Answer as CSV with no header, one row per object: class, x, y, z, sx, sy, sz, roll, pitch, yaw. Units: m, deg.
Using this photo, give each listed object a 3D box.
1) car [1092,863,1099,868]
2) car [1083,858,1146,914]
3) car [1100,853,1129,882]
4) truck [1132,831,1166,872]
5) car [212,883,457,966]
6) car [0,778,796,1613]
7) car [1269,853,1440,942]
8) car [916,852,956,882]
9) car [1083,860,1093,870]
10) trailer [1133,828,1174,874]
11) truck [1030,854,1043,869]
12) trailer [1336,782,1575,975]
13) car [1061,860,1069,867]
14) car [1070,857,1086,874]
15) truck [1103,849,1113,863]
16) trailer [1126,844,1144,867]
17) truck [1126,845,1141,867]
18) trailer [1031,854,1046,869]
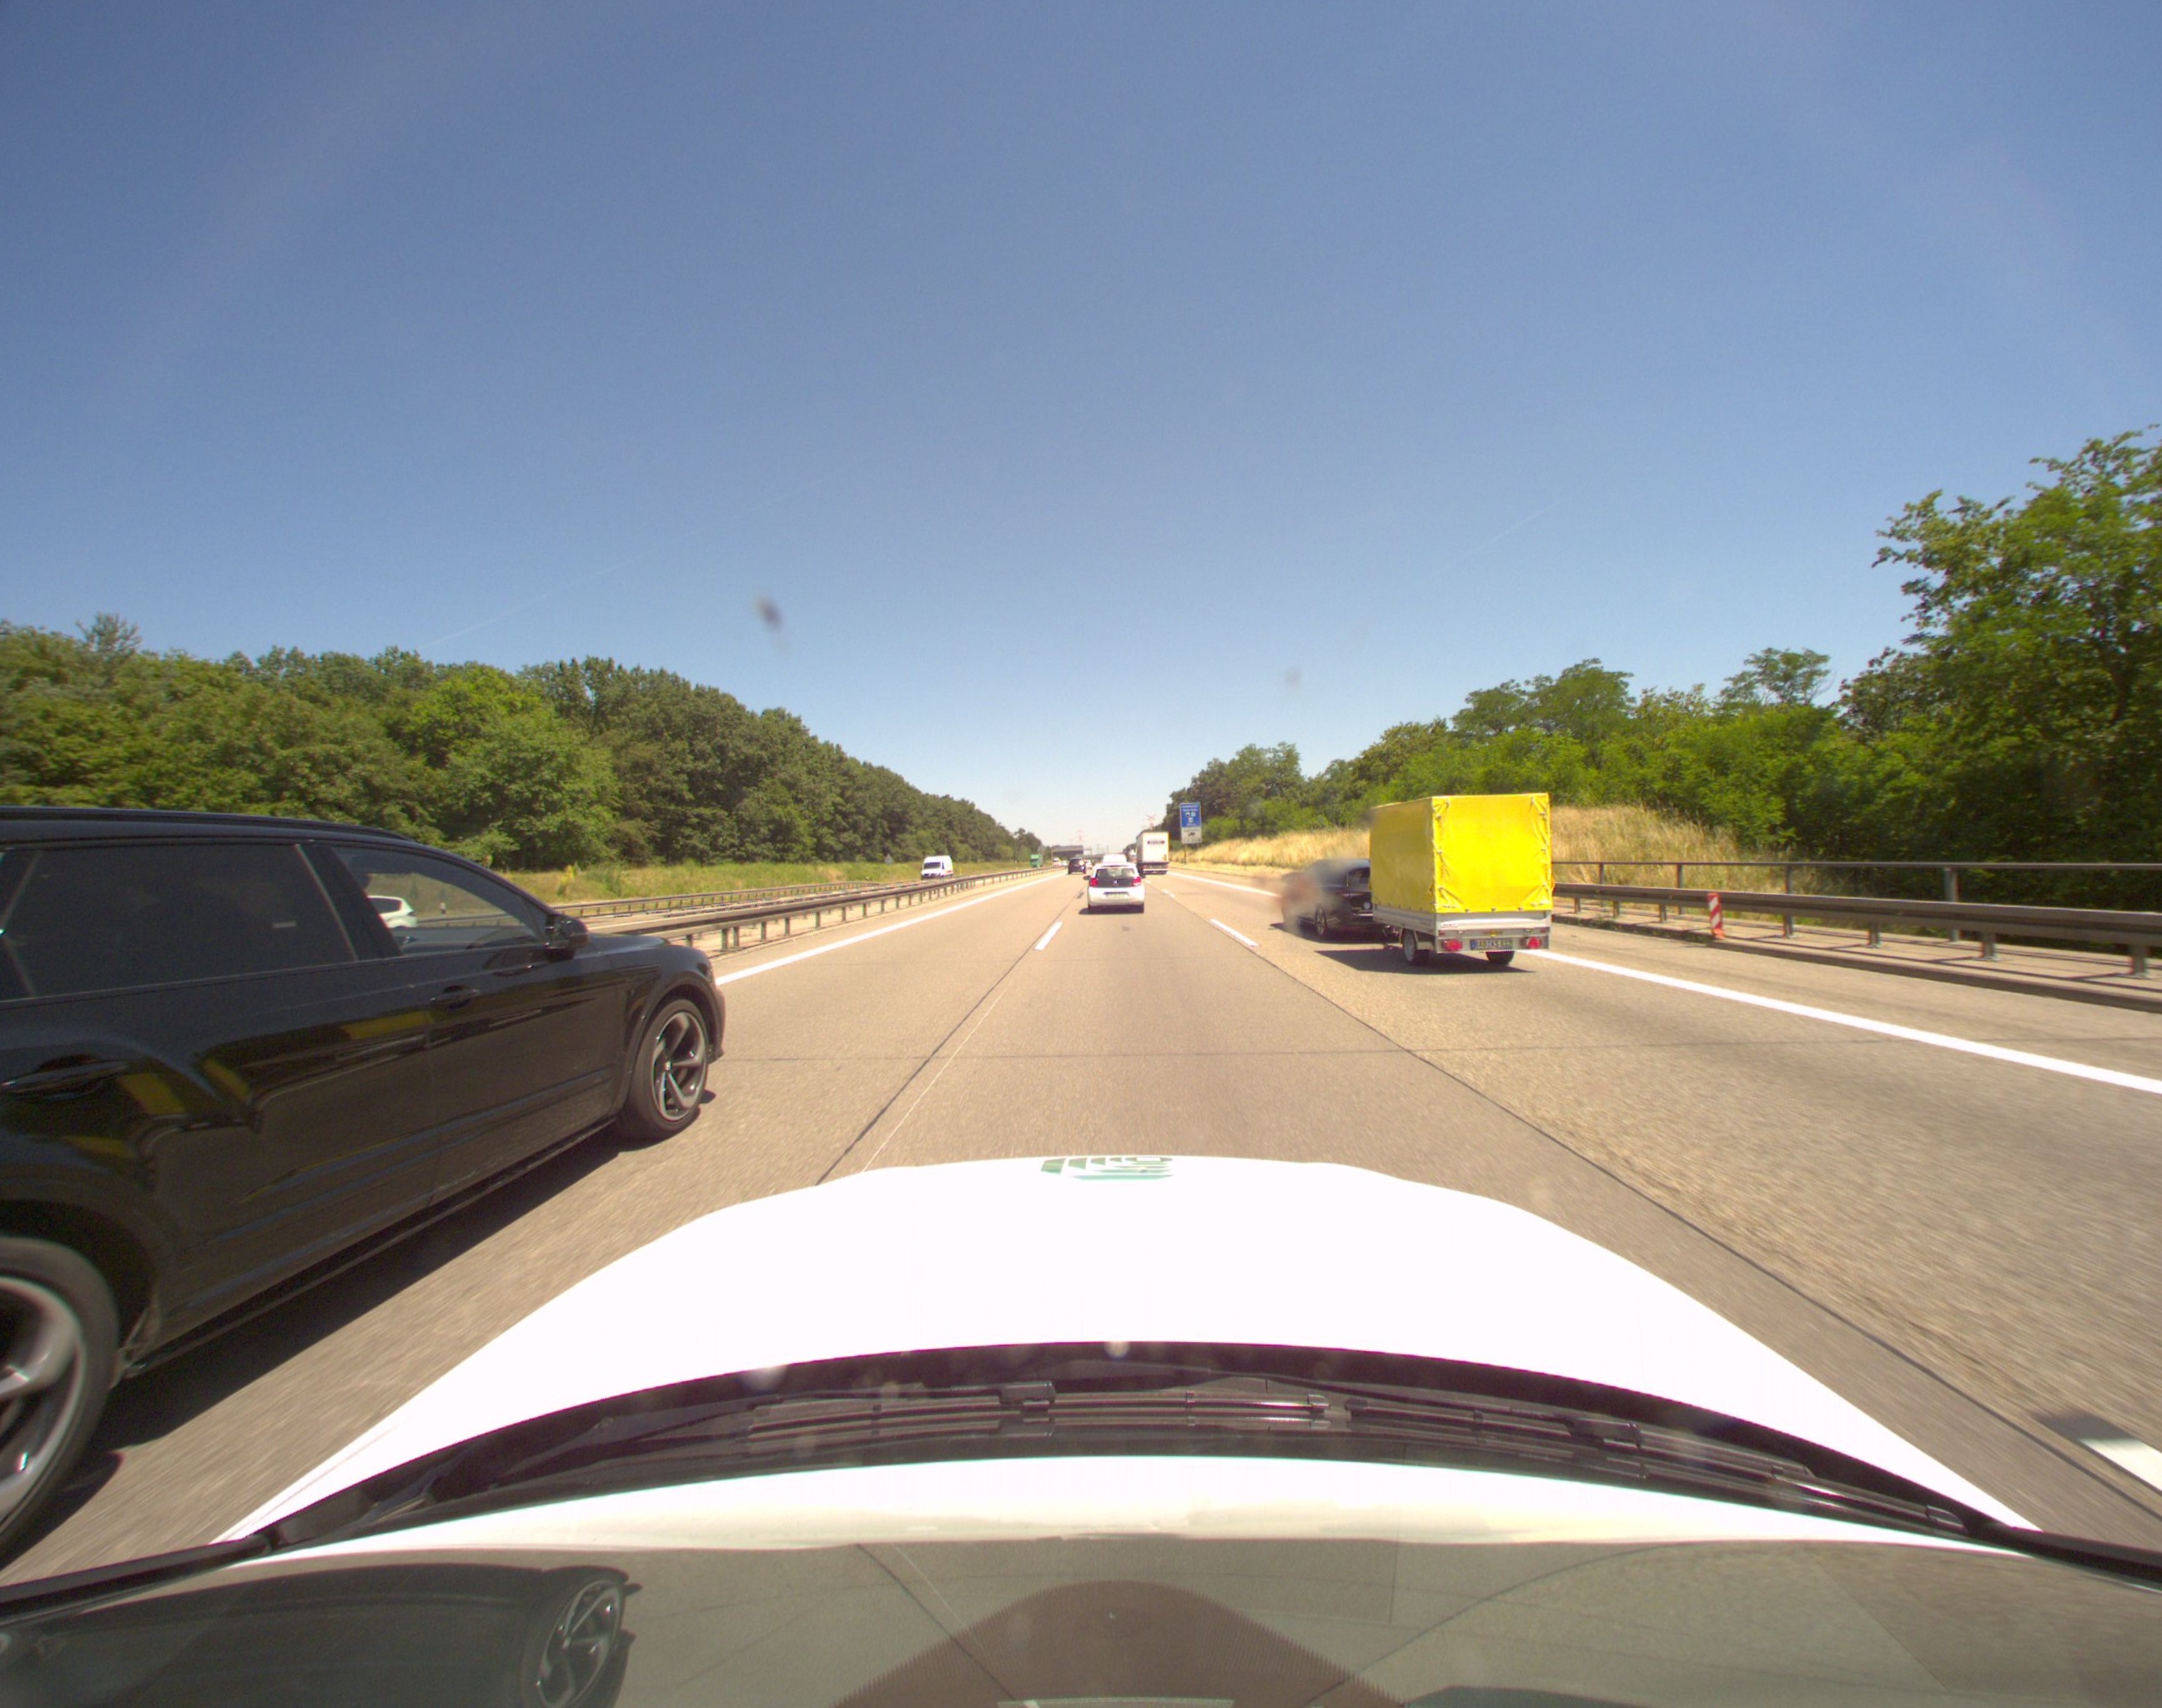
car,3.851,3.082,218.079,1.601,1.300,3.676,-2,0,2
car,0.997,0.897,24.490,1.702,1.495,4.025,-2,0,2
car,2.266,0.919,55.664,1.808,1.827,5.112,-3,-1,1
truck,7.346,-0.223,89.034,3.274,4.219,6.009,-1,-1,1
car,-19.931,1.784,22.153,1.696,1.661,5.118,-5,0,2
car,-3.222,0.734,3.311,1.933,1.752,5.814,-2,0,1
car,5.188,0.753,16.174,1.815,1.456,4.789,-2,0,1
car,-14.195,1.256,80.438,2.157,2.624,7.546,-5,0,2
car,1.137,1.757,131.781,1.663,1.401,3.713,-3,0,0
trailer,7.206,-0.238,82.775,3.274,4.219,13.568,-1,-1,1
truck,-12.879,2.217,236.533,2.690,4.161,6.299,-5,0,2
trailer,5.157,0.305,11.835,1.697,2.289,3.840,-2,0,1
car,-4.660,2.852,238.039,1.947,1.792,5.564,-5,0,2
car,-0.321,1.287,89.457,1.620,1.755,3.806,-2,0,2
truck,5.939,0.407,182.543,2.053,2.914,7.005,-3,-1,1
trailer,9.607,0.350,146.448,2.673,3.837,12.013,-1,-1,1
truck,9.762,0.401,152.149,2.673,3.837,4.445,-1,-1,1
trailer,-12.662,2.267,243.202,2.695,4.160,14.343,-5,0,2
